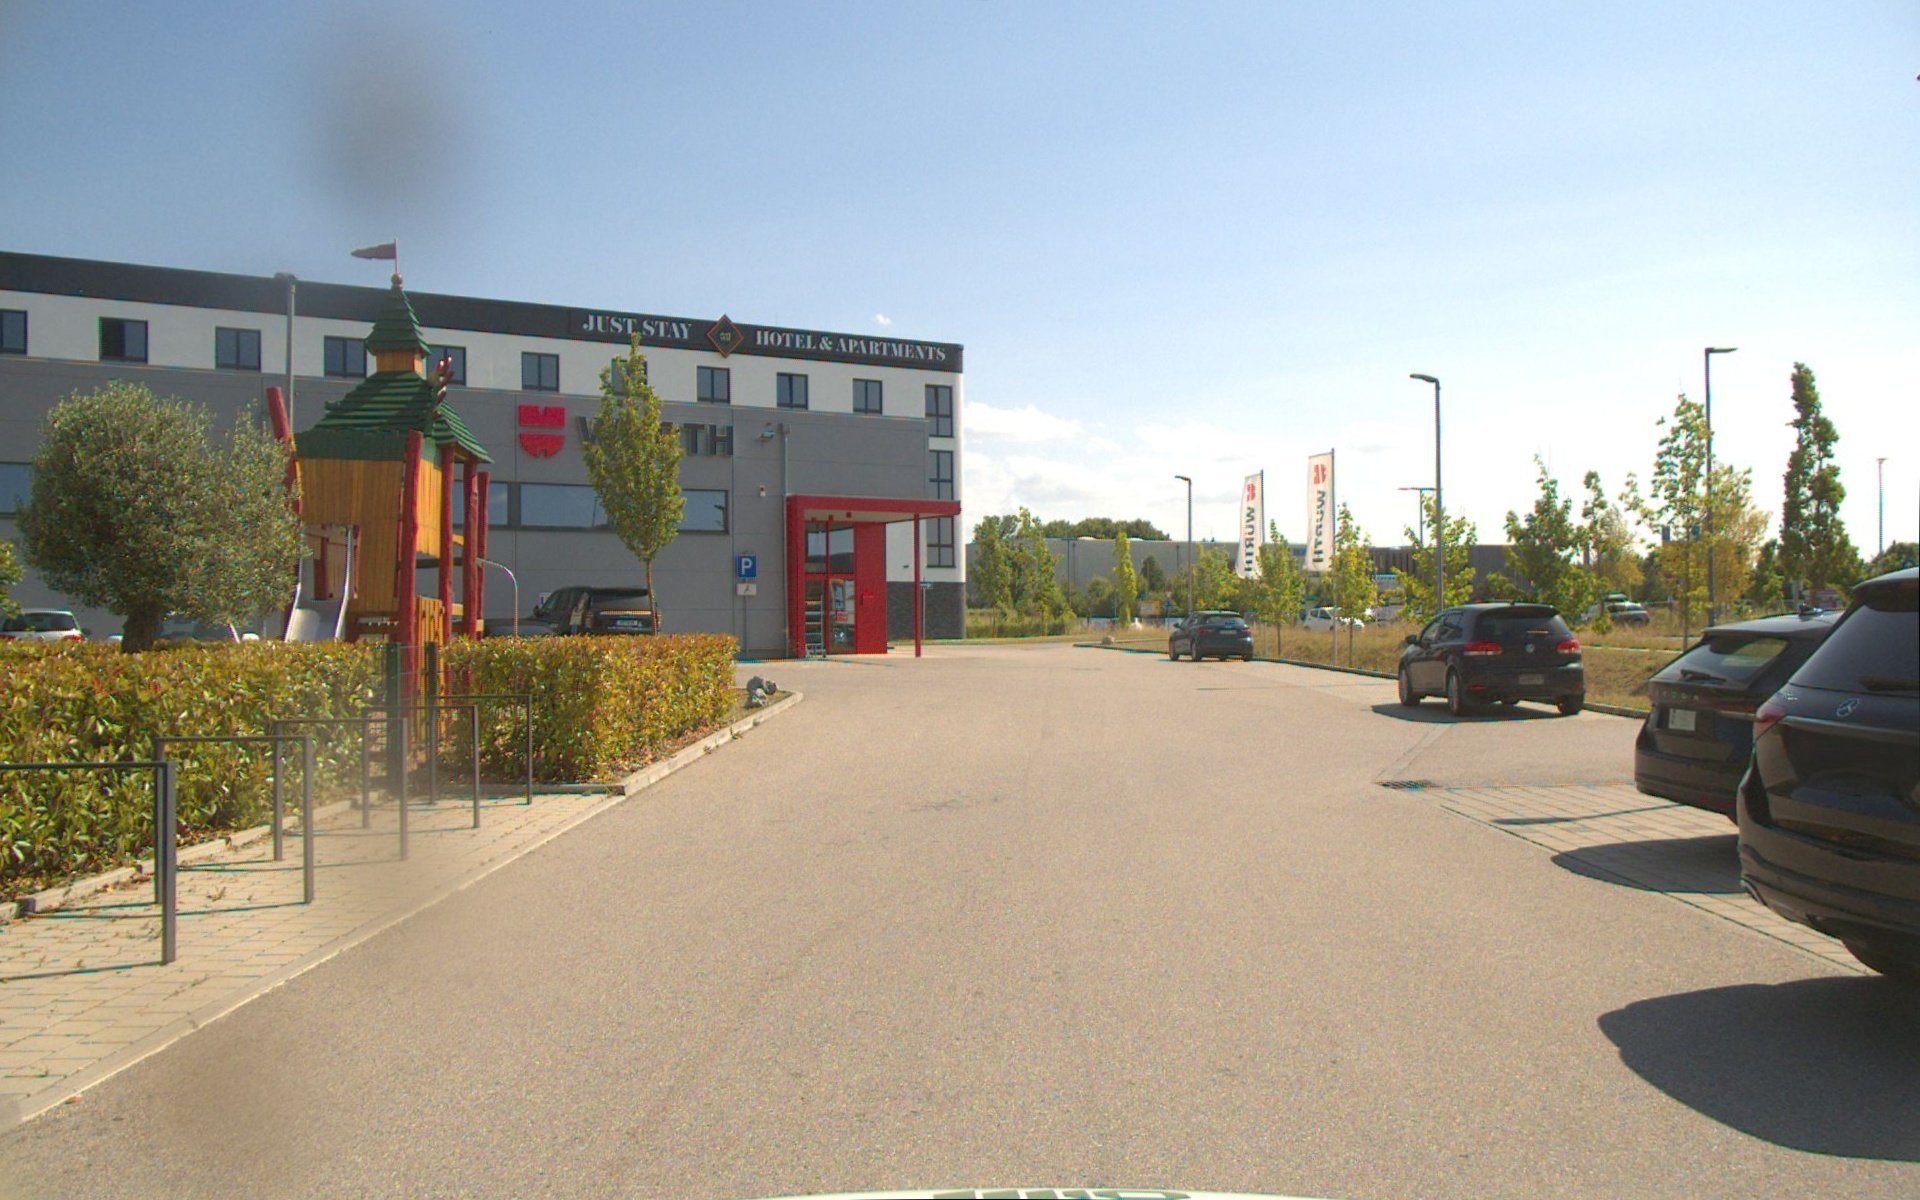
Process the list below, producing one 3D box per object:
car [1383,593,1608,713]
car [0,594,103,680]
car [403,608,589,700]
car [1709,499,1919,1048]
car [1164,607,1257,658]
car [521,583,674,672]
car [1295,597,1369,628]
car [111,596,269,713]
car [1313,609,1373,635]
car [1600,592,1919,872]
[{"bbox_3d":[7.510,0.702,23.632,1.798,1.503,4.119,-2,0,-1],"label":"car"},{"bbox_3d":[-18.710,0.705,33.630,1.929,1.613,4.327,0,0,-33],"label":"car"},{"bbox_3d":[-7.839,0.833,27.668,1.845,1.386,4.327,0,0,-33],"label":"car"},{"bbox_3d":[5.344,0.584,5.955,4.485,1.791,1.894,0,-1,-5],"label":"car"},{"bbox_3d":[7.210,0.913,47.951,1.666,1.431,3.890,0,0,-8],"label":"car"},{"bbox_3d":[-8.483,0.591,38.378,2.050,1.913,4.827,0,0,-31],"label":"car"},{"bbox_3d":[18.755,0.597,83.571,1.845,1.509,3.977,0,0,-19],"label":"car"},{"bbox_3d":[-11.433,0.727,24.413,1.925,1.557,4.336,0,0,-28],"label":"car"},{"bbox_3d":[21.609,1.207,93.348,1.624,1.410,3.488,0,0,-22],"label":"car"},{"bbox_3d":[6.481,0.705,10.195,4.353,1.513,1.876,-1,0,-5],"label":"car"}]
